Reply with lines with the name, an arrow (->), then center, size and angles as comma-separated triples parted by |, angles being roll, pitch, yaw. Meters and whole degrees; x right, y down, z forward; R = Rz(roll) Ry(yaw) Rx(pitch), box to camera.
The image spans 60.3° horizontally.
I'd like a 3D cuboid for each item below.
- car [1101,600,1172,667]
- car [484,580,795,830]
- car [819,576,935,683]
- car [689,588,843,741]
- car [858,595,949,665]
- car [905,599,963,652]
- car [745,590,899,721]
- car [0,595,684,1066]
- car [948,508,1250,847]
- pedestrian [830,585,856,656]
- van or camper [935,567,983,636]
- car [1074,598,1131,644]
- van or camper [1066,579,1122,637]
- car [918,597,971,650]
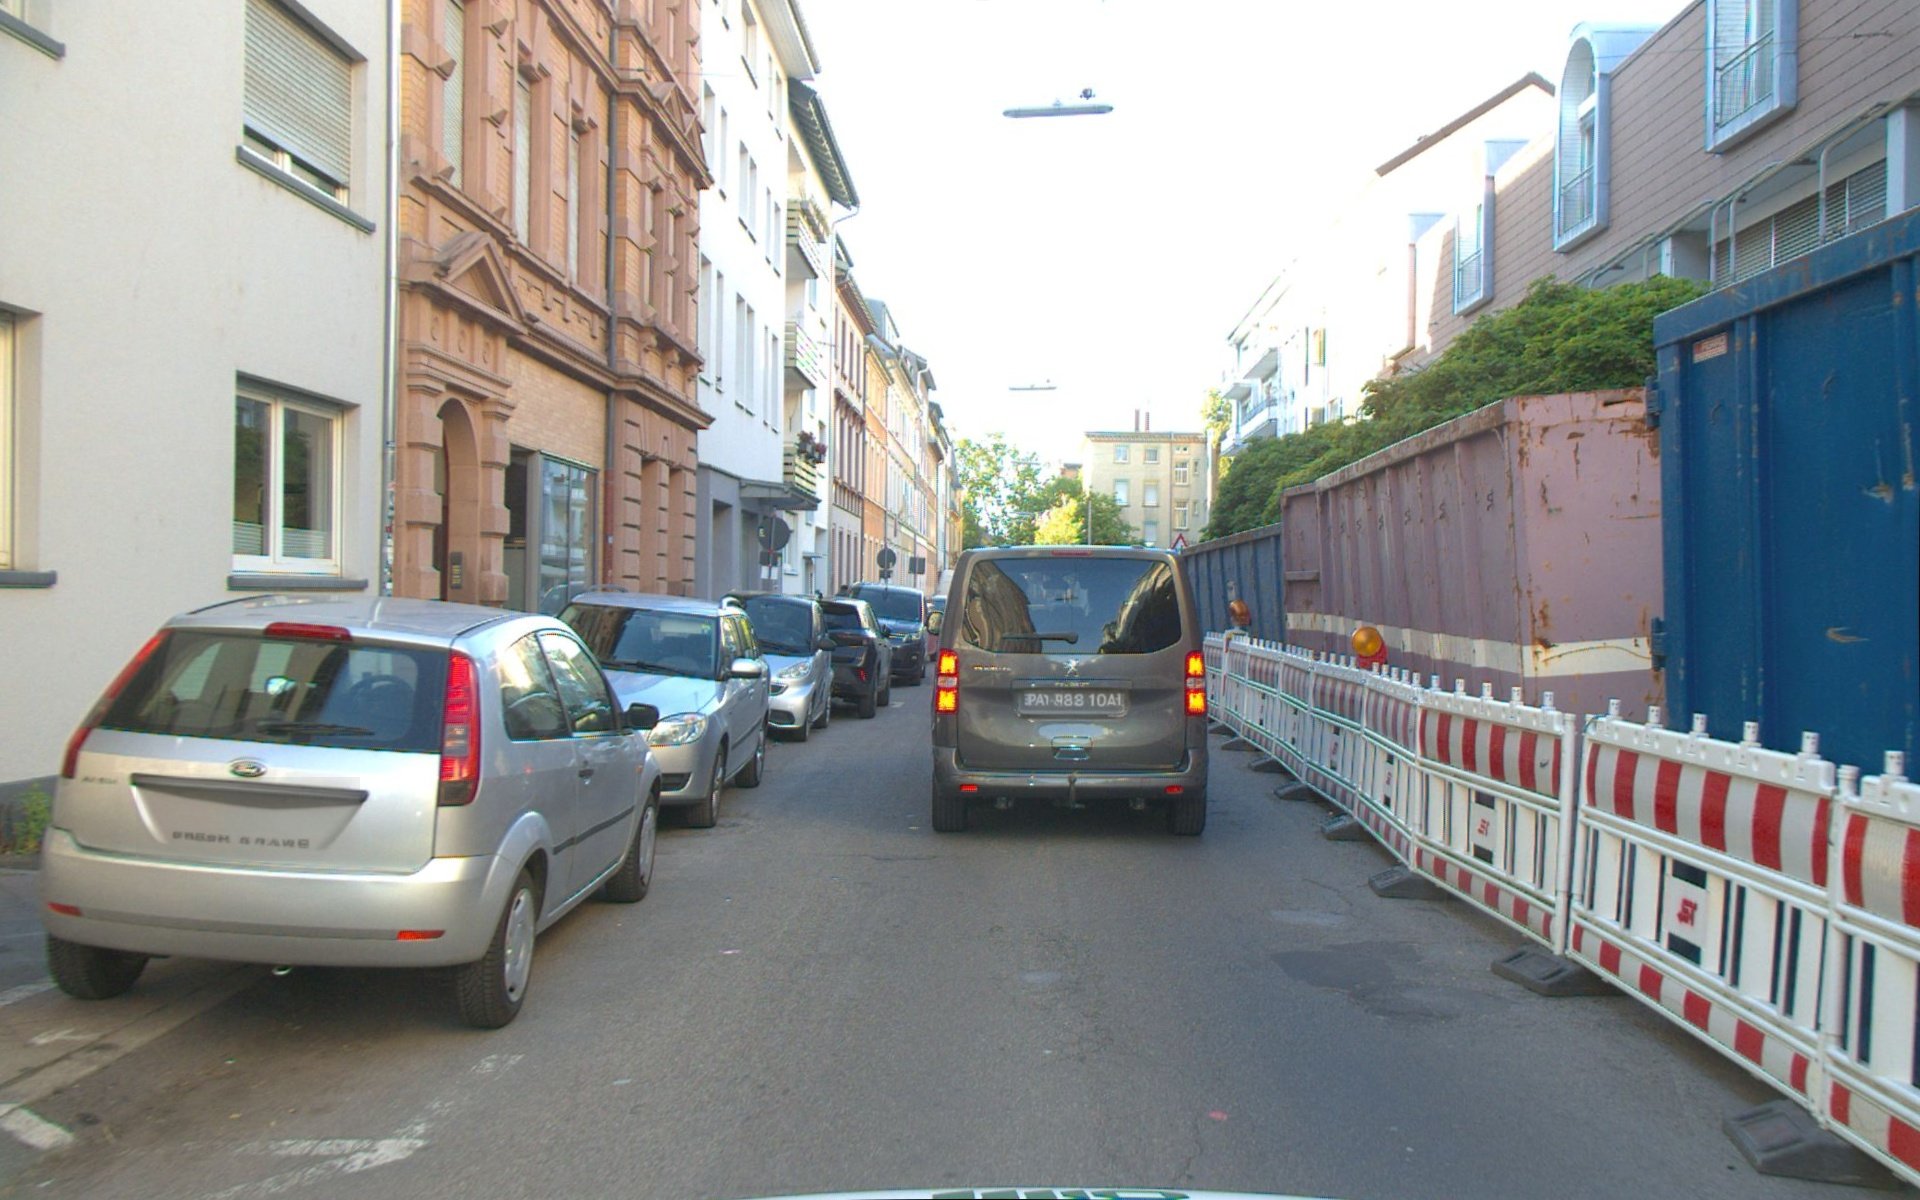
car -> 4.792, 0.876, 45.466 | 1.712, 1.712, 4.527 | 2, 0, 4
car -> -2.266, 0.682, 12.564 | 1.523, 1.535, 3.598 | 4, 0, 1
car -> -1.540, 0.541, 32.284 | 1.952, 1.891, 4.585 | 1, 0, 0
car -> -2.191, 0.693, 19.245 | 1.367, 1.616, 2.794 | 1, 0, 1
car -> -1.386, 0.730, 41.701 | 1.634, 1.511, 3.608 | 6, 0, 7
car -> -0.800, 0.786, 52.072 | 1.623, 1.473, 3.286 | 4, 0, 1
car -> -1.837, 0.709, 23.169 | 1.704, 1.627, 4.015 | 1, 0, 1
car -> -2.300, 0.730, 7.037 | 1.598, 1.455, 3.555 | 1, 0, 0
car -> 0.888, 0.471, 12.137 | 1.819, 2.049, 4.001 | -1, 0, 1
pedestrian -> -2.827, 0.494, 39.980 | 0.485, 1.667, 0.666 | 2, 0, 2
van or camper -> -0.051, 0.068, 68.704 | 1.909, 2.696, 7.140 | 0, 0, 0
car -> 5.375, 0.789, 62.705 | 1.687, 1.640, 4.587 | 1, 0, -1
van or camper -> 6.319, 0.367, 78.757 | 2.056, 2.648, 7.512 | 0, 0, 0
car -> -0.505, 0.772, 57.258 | 1.676, 1.673, 3.979 | 4, 0, 1
